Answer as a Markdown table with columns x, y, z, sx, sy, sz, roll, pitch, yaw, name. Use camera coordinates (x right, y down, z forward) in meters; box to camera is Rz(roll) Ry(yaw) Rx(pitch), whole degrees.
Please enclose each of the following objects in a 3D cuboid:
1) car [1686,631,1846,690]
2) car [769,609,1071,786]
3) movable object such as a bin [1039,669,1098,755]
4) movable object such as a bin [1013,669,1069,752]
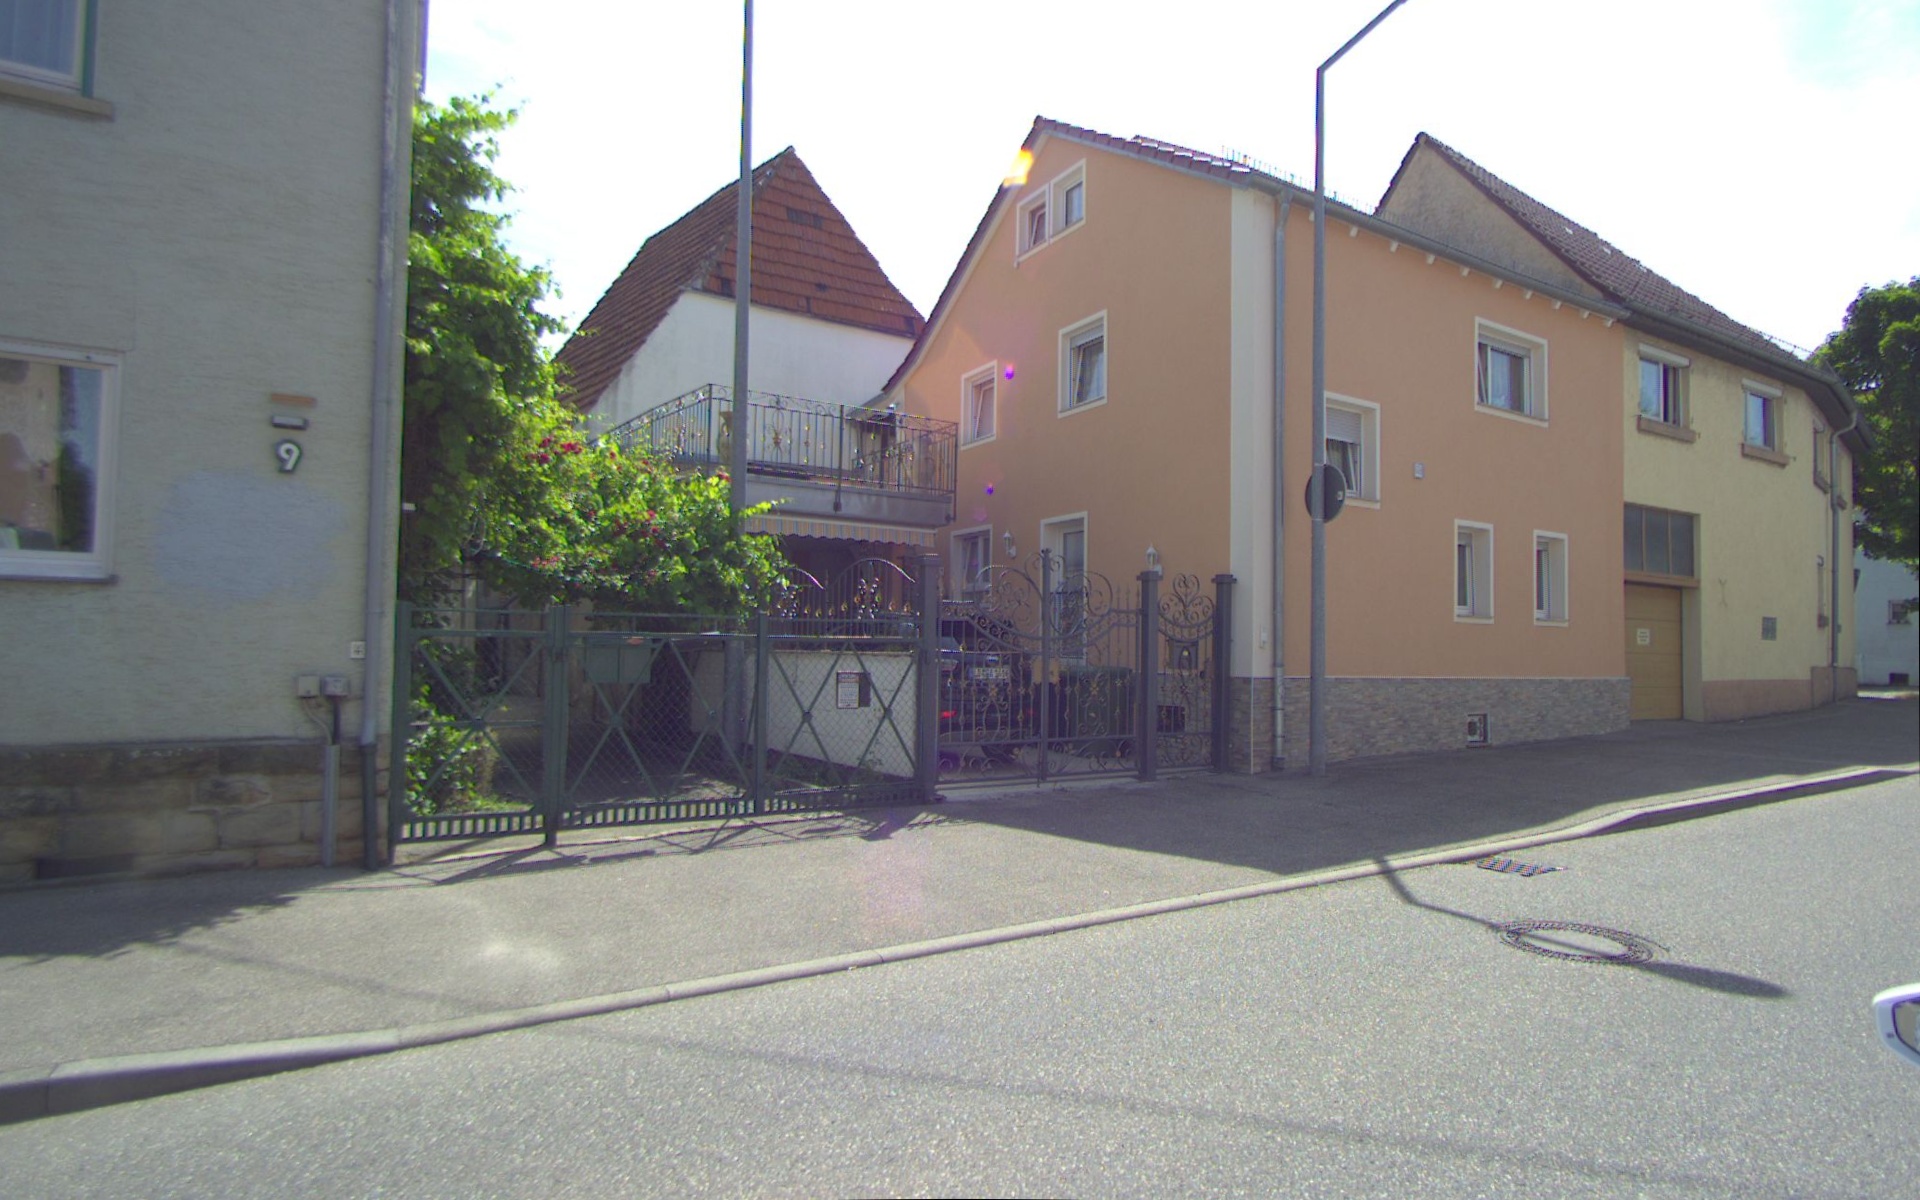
| x | y | z | sx | sy | sz | roll | pitch | yaw | name |
| --- | --- | --- | --- | --- | --- | --- | --- | --- | --- |
| 26.098 | 1.924 | 32.598 | 3.942 | 1.773 | 1.990 | -1 | -3 | 42 | car |
| -0.590 | 0.979 | 11.409 | 1.740 | 1.653 | 3.595 | 1 | -2 | -36 | car |
| 1.353 | 1.373 | 12.491 | 0.528 | 1.016 | 0.524 | 1 | -2 | -30 | movable object such as a bin |
| 1.047 | 1.413 | 13.002 | 0.528 | 1.009 | 0.524 | 1 | -2 | -30 | movable object such as a bin |
